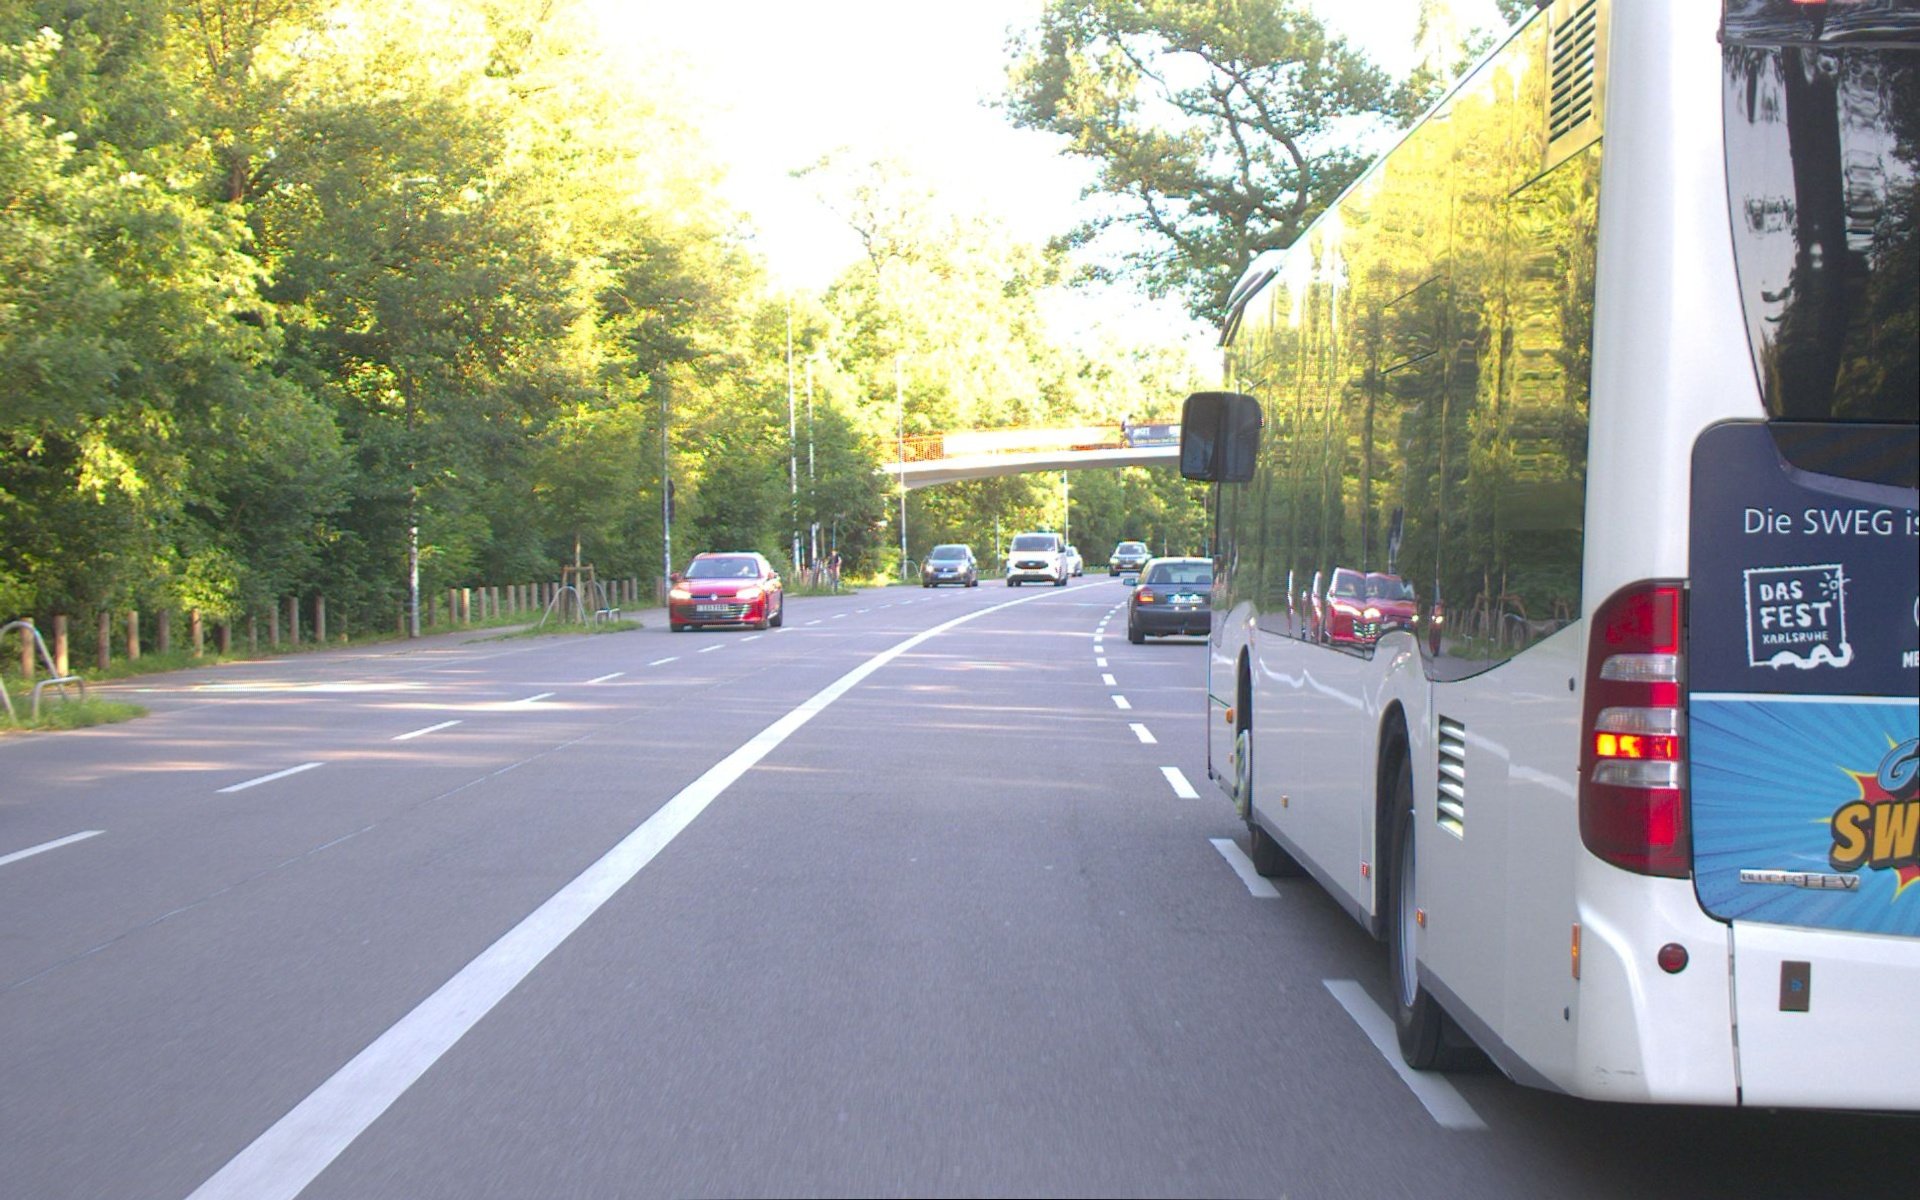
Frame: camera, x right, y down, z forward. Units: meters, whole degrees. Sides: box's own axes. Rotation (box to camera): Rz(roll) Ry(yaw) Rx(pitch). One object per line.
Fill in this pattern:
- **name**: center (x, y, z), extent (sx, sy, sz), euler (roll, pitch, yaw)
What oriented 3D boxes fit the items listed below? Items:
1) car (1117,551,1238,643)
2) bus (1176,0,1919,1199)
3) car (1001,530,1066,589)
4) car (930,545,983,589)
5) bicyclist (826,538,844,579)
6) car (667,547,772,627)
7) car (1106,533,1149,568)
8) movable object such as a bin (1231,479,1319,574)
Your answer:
- **car**: center (3.522, -0.071, 56.180), extent (1.727, 1.436, 4.090), euler (0, 1, 0)
- **bus**: center (2.507, -0.131, 12.672), extent (2.704, 3.211, 12.279), euler (0, 1, 0)
- **car**: center (2.769, -1.526, 128.472), extent (2.206, 1.954, 4.913), euler (-5, 1, 2)
- **car**: center (-0.113, -1.221, 126.991), extent (1.800, 1.594, 4.000), euler (-1, 1, 2)
- **bicyclist**: center (-4.572, -1.513, 125.980), extent (0.499, 1.479, 0.761), euler (-3, 1, 4)
- **car**: center (-4.578, -0.275, 65.890), extent (1.823, 1.457, 4.925), euler (0, 1, -2)
- **car**: center (8.303, -2.469, 170.546), extent (1.918, 1.698, 4.441), euler (0, 1, 5)
- **movable object such as a bin**: center (11.515, -2.694, 126.114), extent (2.759, 3.359, 7.600), euler (-1, 1, 2)
